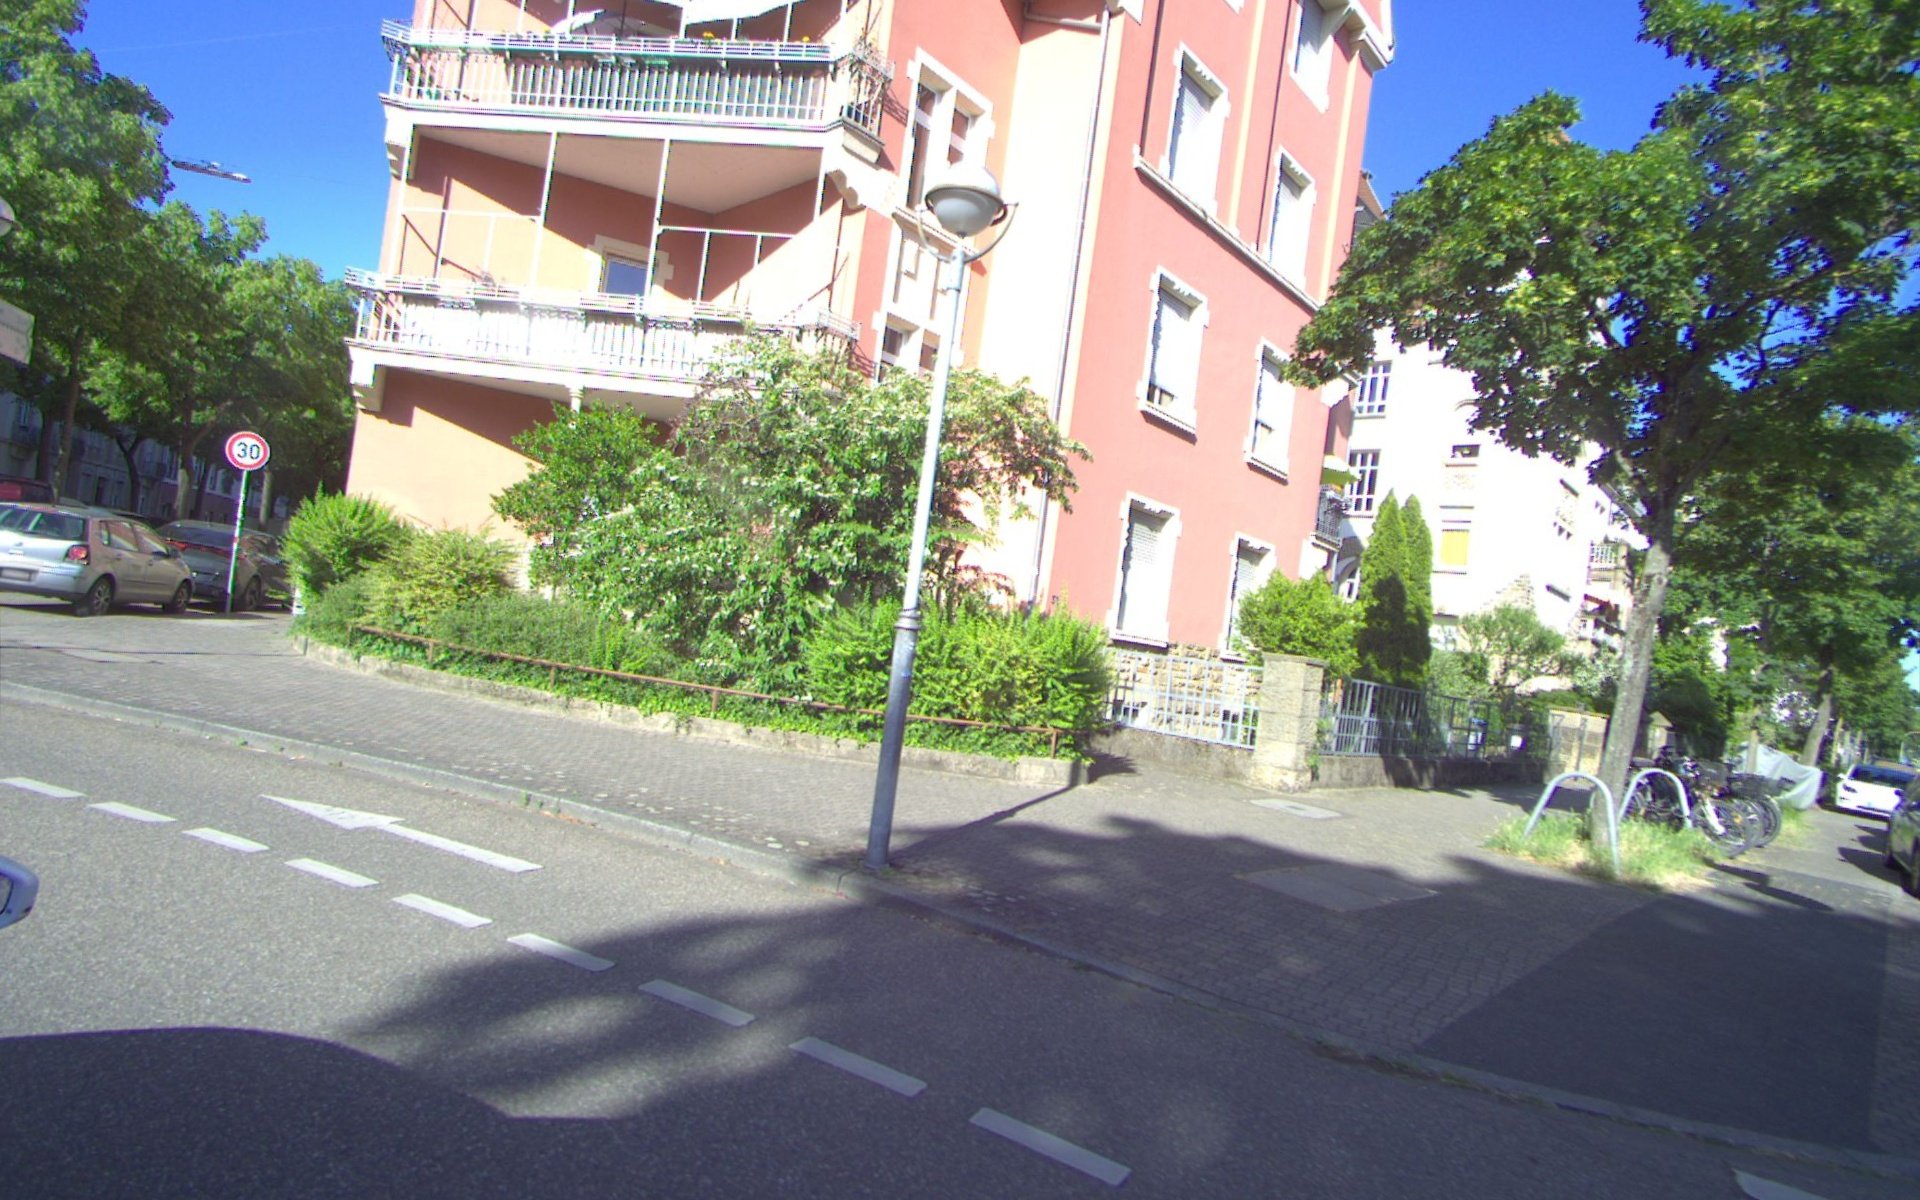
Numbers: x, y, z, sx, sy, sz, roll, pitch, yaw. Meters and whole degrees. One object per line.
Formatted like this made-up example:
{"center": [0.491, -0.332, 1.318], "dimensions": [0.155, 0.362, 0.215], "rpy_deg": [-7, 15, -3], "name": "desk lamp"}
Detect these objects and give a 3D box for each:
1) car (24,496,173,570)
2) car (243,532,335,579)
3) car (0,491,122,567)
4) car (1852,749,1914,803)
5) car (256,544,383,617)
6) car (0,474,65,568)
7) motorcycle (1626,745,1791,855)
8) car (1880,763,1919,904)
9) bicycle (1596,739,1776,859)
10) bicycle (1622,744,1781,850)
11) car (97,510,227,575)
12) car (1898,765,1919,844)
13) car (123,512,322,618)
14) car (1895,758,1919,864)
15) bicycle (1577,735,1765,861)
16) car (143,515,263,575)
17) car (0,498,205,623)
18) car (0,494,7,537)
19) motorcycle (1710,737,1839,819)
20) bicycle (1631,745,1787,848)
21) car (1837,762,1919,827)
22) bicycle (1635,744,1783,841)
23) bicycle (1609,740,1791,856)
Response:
{"center": [-24.651, -1.923, 28.810], "dimensions": [3.321, 1.486, 1.690], "rpy_deg": [9, -2, 20], "name": "car"}
{"center": [-30.281, -1.997, 45.431], "dimensions": [3.321, 1.486, 1.690], "rpy_deg": [9, -2, 20], "name": "car"}
{"center": [-24.115, -1.922, 26.418], "dimensions": [3.321, 1.486, 1.690], "rpy_deg": [9, -2, 20], "name": "car"}
{"center": [39.675, 7.523, 43.255], "dimensions": [1.787, 1.951, 4.378], "rpy_deg": [3, -4, 43], "name": "car"}
{"center": [-15.668, -0.455, 24.780], "dimensions": [1.665, 1.397, 3.270], "rpy_deg": [10, -2, -18], "name": "car"}
{"center": [-22.056, -1.961, 22.138], "dimensions": [3.320, 1.886, 1.691], "rpy_deg": [9, -2, 11], "name": "car"}
{"center": [10.436, 2.759, 14.084], "dimensions": [1.700, 1.120, 0.499], "rpy_deg": [9, 0, 38], "name": "motorcycle"}
{"center": [12.694, 2.898, 12.266], "dimensions": [1.784, 1.500, 4.325], "rpy_deg": [4, -4, 39], "name": "car"}
{"center": [9.376, 2.536, 13.045], "dimensions": [1.704, 1.128, 0.543], "rpy_deg": [9, 0, 45], "name": "bicycle"}
{"center": [10.691, 2.814, 14.563], "dimensions": [1.700, 1.120, 0.499], "rpy_deg": [9, 0, 38], "name": "bicycle"}
{"center": [-25.921, -1.877, 32.704], "dimensions": [3.321, 1.486, 1.690], "rpy_deg": [9, -2, 20], "name": "car"}
{"center": [20.233, 4.195, 20.315], "dimensions": [1.787, 1.466, 4.378], "rpy_deg": [3, -4, 43], "name": "car"}
{"center": [-14.259, -0.617, 19.751], "dimensions": [1.664, 1.580, 4.280], "rpy_deg": [10, -2, -17], "name": "car"}
{"center": [16.572, 3.503, 16.459], "dimensions": [1.787, 1.579, 4.378], "rpy_deg": [3, -4, 43], "name": "car"}
{"center": [8.712, 2.398, 12.385], "dimensions": [1.704, 1.128, 0.543], "rpy_deg": [9, 0, 45], "name": "bicycle"}
{"center": [-26.618, -1.923, 35.388], "dimensions": [3.321, 1.486, 1.690], "rpy_deg": [9, -2, 20], "name": "car"}
{"center": [-12.995, -0.574, 14.879], "dimensions": [1.665, 1.462, 3.534], "rpy_deg": [10, -2, -18], "name": "car"}
{"center": [-21.340, -1.737, 19.769], "dimensions": [3.325, 1.462, 1.688], "rpy_deg": [9, -2, -4], "name": "car"}
{"center": [18.633, 4.071, 23.039], "dimensions": [2.245, 1.447, 0.955], "rpy_deg": [9, 0, -12], "name": "motorcycle"}
{"center": [11.108, 2.885, 14.960], "dimensions": [1.702, 1.120, 0.499], "rpy_deg": [9, 0, 41], "name": "bicycle"}
{"center": [25.459, 5.295, 27.700], "dimensions": [1.787, 1.412, 4.378], "rpy_deg": [3, -4, 43], "name": "car"}
{"center": [11.727, 2.985, 15.781], "dimensions": [1.702, 1.120, 0.513], "rpy_deg": [9, 0, 41], "name": "bicycle"}
{"center": [9.961, 2.640, 13.619], "dimensions": [1.798, 1.120, 0.500], "rpy_deg": [9, 1, 29], "name": "bicycle"}
